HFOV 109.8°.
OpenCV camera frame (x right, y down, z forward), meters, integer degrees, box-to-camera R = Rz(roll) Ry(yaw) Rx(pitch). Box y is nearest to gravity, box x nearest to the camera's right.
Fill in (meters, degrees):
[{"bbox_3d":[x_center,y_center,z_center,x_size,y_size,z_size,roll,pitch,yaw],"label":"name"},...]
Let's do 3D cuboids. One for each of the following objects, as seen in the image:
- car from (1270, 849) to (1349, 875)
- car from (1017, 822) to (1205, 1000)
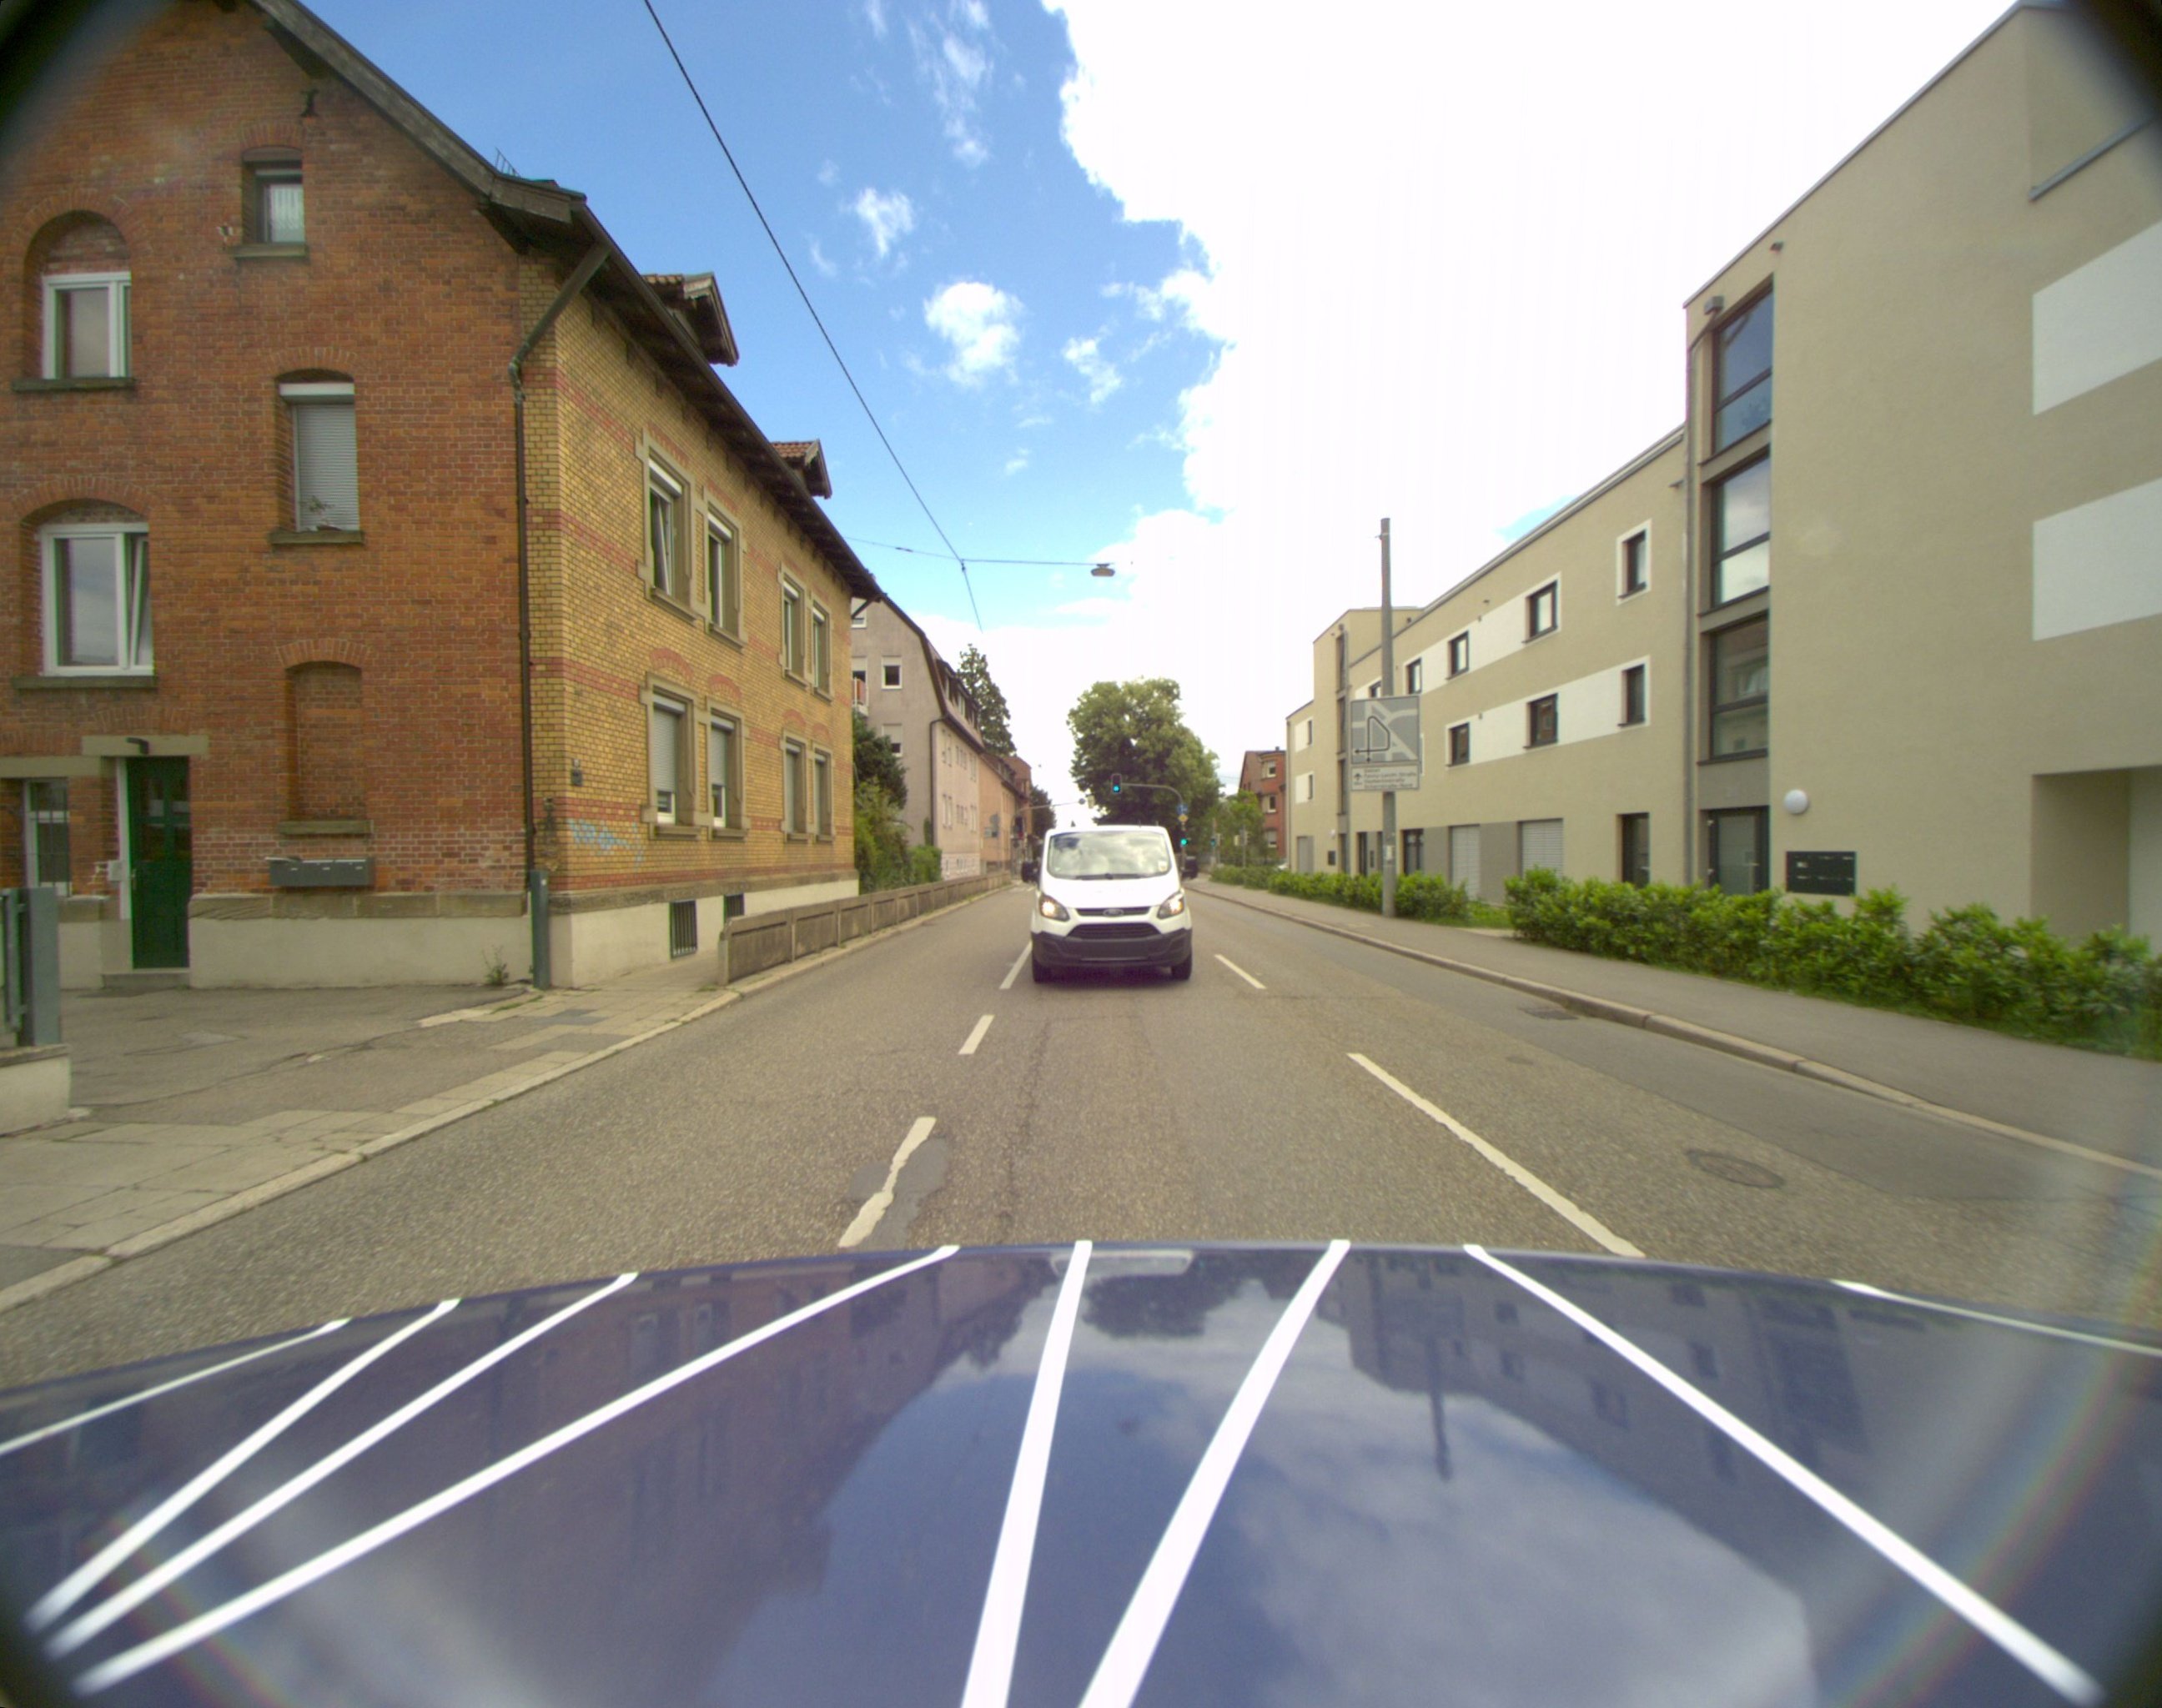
[{"bbox_3d":[16.073,0.533,53.603,4.813,1.675,2.174,-1,1,-4],"label":"car"},{"bbox_3d":[0.327,0.616,10.963,2.062,1.946,5.059,-1,0,0],"label":"car"}]
